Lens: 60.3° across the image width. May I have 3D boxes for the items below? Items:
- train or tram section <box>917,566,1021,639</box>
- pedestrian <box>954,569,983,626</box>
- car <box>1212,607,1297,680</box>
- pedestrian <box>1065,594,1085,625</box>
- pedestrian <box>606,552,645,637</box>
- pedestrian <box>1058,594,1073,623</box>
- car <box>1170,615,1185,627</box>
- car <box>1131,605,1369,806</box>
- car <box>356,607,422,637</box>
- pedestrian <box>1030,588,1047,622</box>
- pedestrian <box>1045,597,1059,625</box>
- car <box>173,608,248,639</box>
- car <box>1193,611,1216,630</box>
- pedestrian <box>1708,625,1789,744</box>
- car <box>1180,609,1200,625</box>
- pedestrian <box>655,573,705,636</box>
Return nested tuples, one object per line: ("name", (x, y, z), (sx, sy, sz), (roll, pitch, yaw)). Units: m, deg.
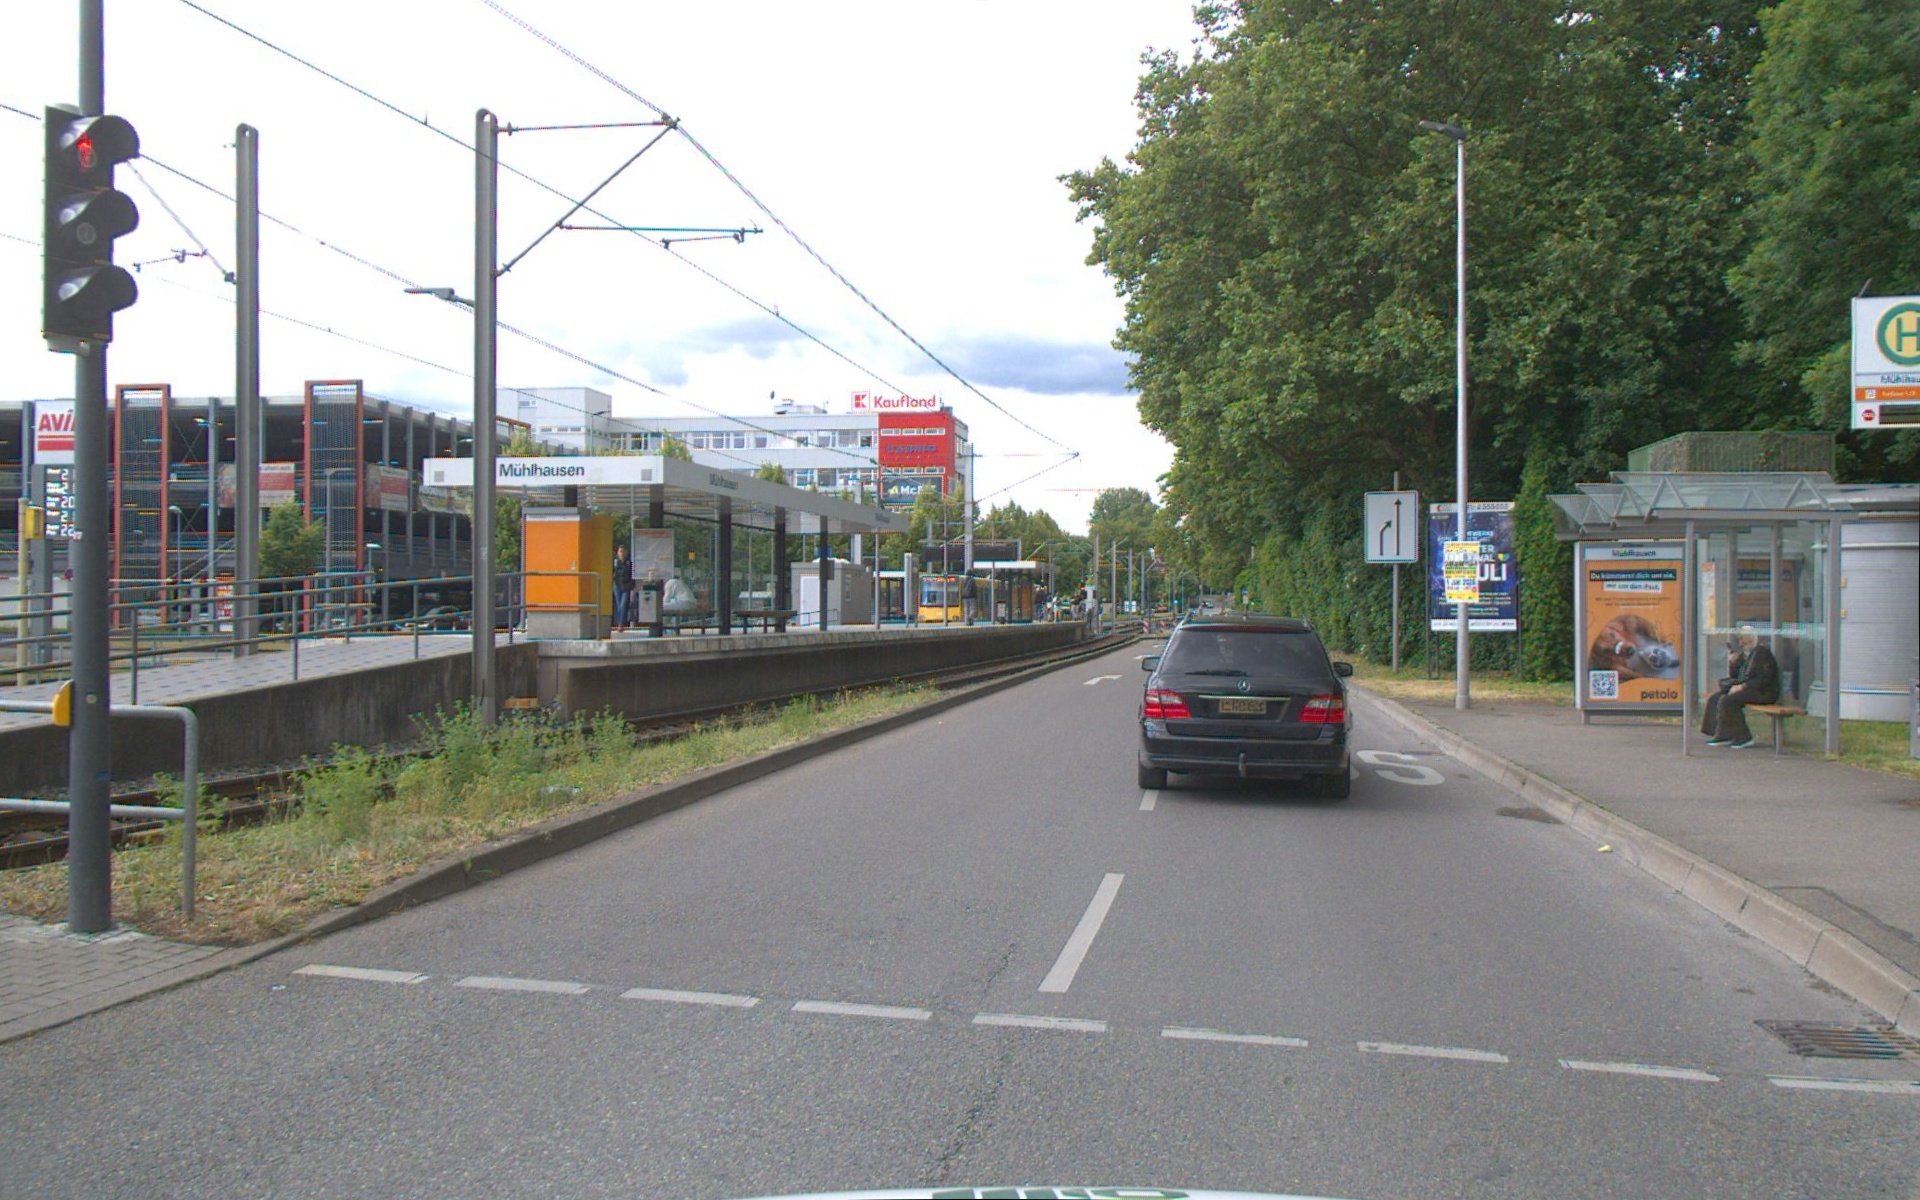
("train or tram section", (0.823, 0.203, 99.806), (2.697, 3.951, 18.646), (-1, -1, 11))
("pedestrian", (0.277, -0.073, 52.378), (0.733, 1.775, 0.937), (-1, -1, 9))
("car", (6.800, 0.960, 38.537), (1.786, 1.557, 4.419), (1, 0, 8))
("pedestrian", (6.514, 0.536, 93.690), (0.867, 1.707, 0.735), (0, -2, -37))
("pedestrian", (-6.615, -0.108, 32.682), (0.558, 1.649, 0.586), (-1, -1, 9))
("pedestrian", (5.566, 0.468, 87.562), (0.577, 1.508, 0.513), (0, -2, -43))
("car", (28.834, 2.817, 219.281), (1.786, 1.557, 3.931), (1, 0, 11))
("car", (2.673, 0.812, 14.945), (1.794, 1.504, 4.419), (1, 0, 12))
("car", (-31.623, 1.227, 91.710), (1.739, 1.566, 4.003), (-1, -1, 9))
("pedestrian", (3.987, 0.278, 84.290), (0.754, 1.707, 0.791), (-1, -1, 9))
("pedestrian", (4.943, 0.578, 88.859), (0.471, 1.509, 0.536), (0, -2, -33))
("car", (-37.226, 1.171, 82.255), (1.679, 1.440, 3.563), (-1, -1, 10))
("car", (20.937, 1.744, 141.406), (1.786, 1.557, 4.419), (1, 0, 11))
("pedestrian", (8.052, 0.854, 16.914), (0.588, 1.178, 0.547), (-1, -1, 9))
("car", (23.006, 1.660, 165.066), (1.786, 1.557, 3.931), (-1, -1, 11))
("pedestrian", (-5.489, 0.089, 32.463), (0.753, 1.210, 0.729), (0, -1, 13))
